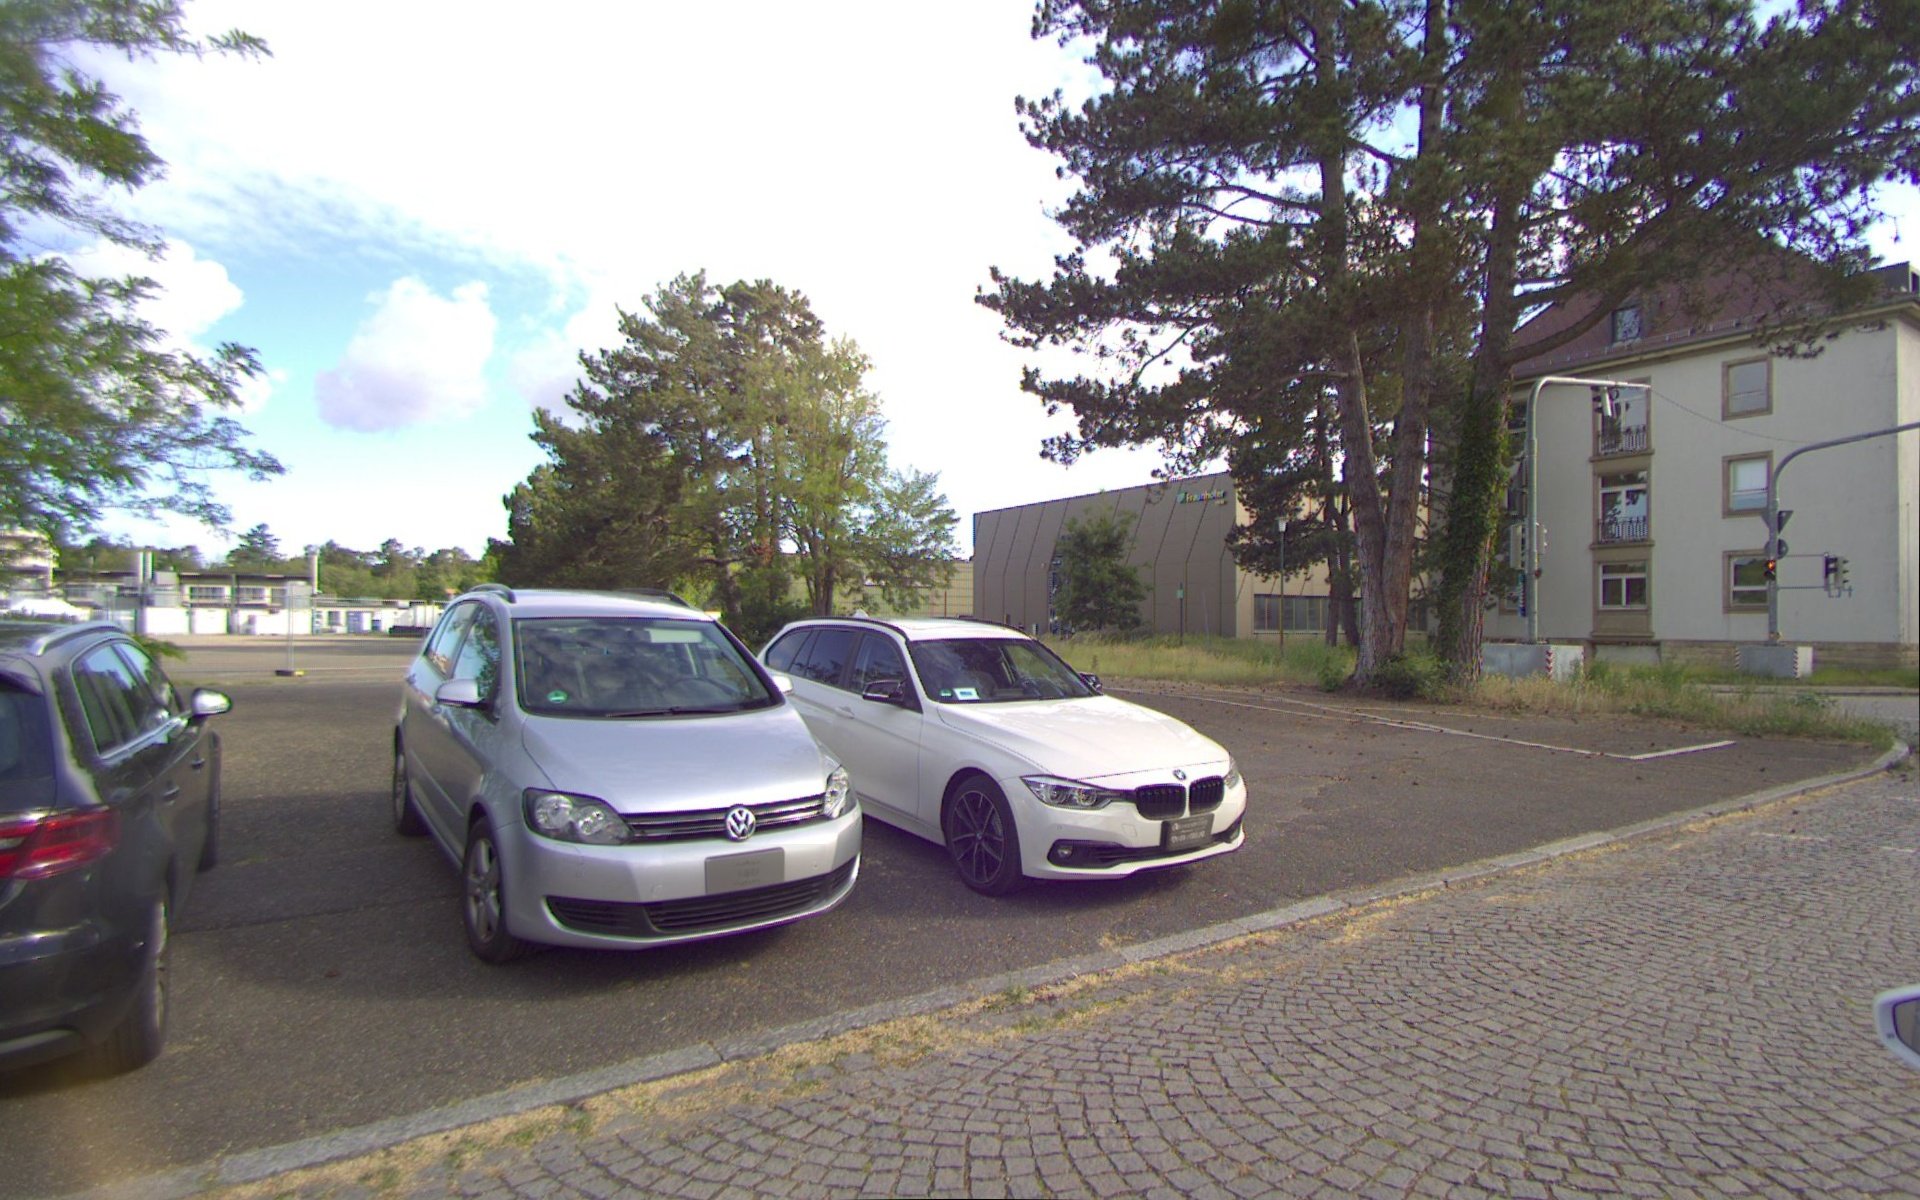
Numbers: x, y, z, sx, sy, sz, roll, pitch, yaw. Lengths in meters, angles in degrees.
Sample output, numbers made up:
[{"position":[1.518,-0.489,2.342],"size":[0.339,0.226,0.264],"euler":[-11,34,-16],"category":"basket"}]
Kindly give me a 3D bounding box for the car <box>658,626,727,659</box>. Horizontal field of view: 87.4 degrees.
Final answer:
[{"position":[-11.679,1.804,43.748],"size":[1.577,1.355,3.703],"euler":[1,-2,-38],"category":"car"}]

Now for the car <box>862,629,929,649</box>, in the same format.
[{"position":[-4.252,2.552,66.067],"size":[4.148,1.289,1.598],"euler":[1,-2,-30],"category":"car"}]

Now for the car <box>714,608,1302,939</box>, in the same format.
[{"position":[-0.026,0.869,7.182],"size":[1.813,1.461,4.446],"euler":[1,1,-36],"category":"car"}]

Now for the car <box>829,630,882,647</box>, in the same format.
[{"position":[-7.530,2.789,72.663],"size":[3.623,1.217,1.319],"euler":[1,-2,-30],"category":"car"}]

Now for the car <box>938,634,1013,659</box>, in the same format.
[{"position":[0.891,2.680,58.467],"size":[4.083,1.433,1.750],"euler":[1,-2,-30],"category":"car"}]

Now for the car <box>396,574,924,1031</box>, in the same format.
[{"position":[-1.971,0.704,5.664],"size":[1.718,1.628,3.805],"euler":[1,1,-35],"category":"car"}]

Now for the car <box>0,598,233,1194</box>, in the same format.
[{"position":[-3.970,0.760,3.869],"size":[1.677,1.427,3.812],"euler":[1,1,-33],"category":"car"}]
